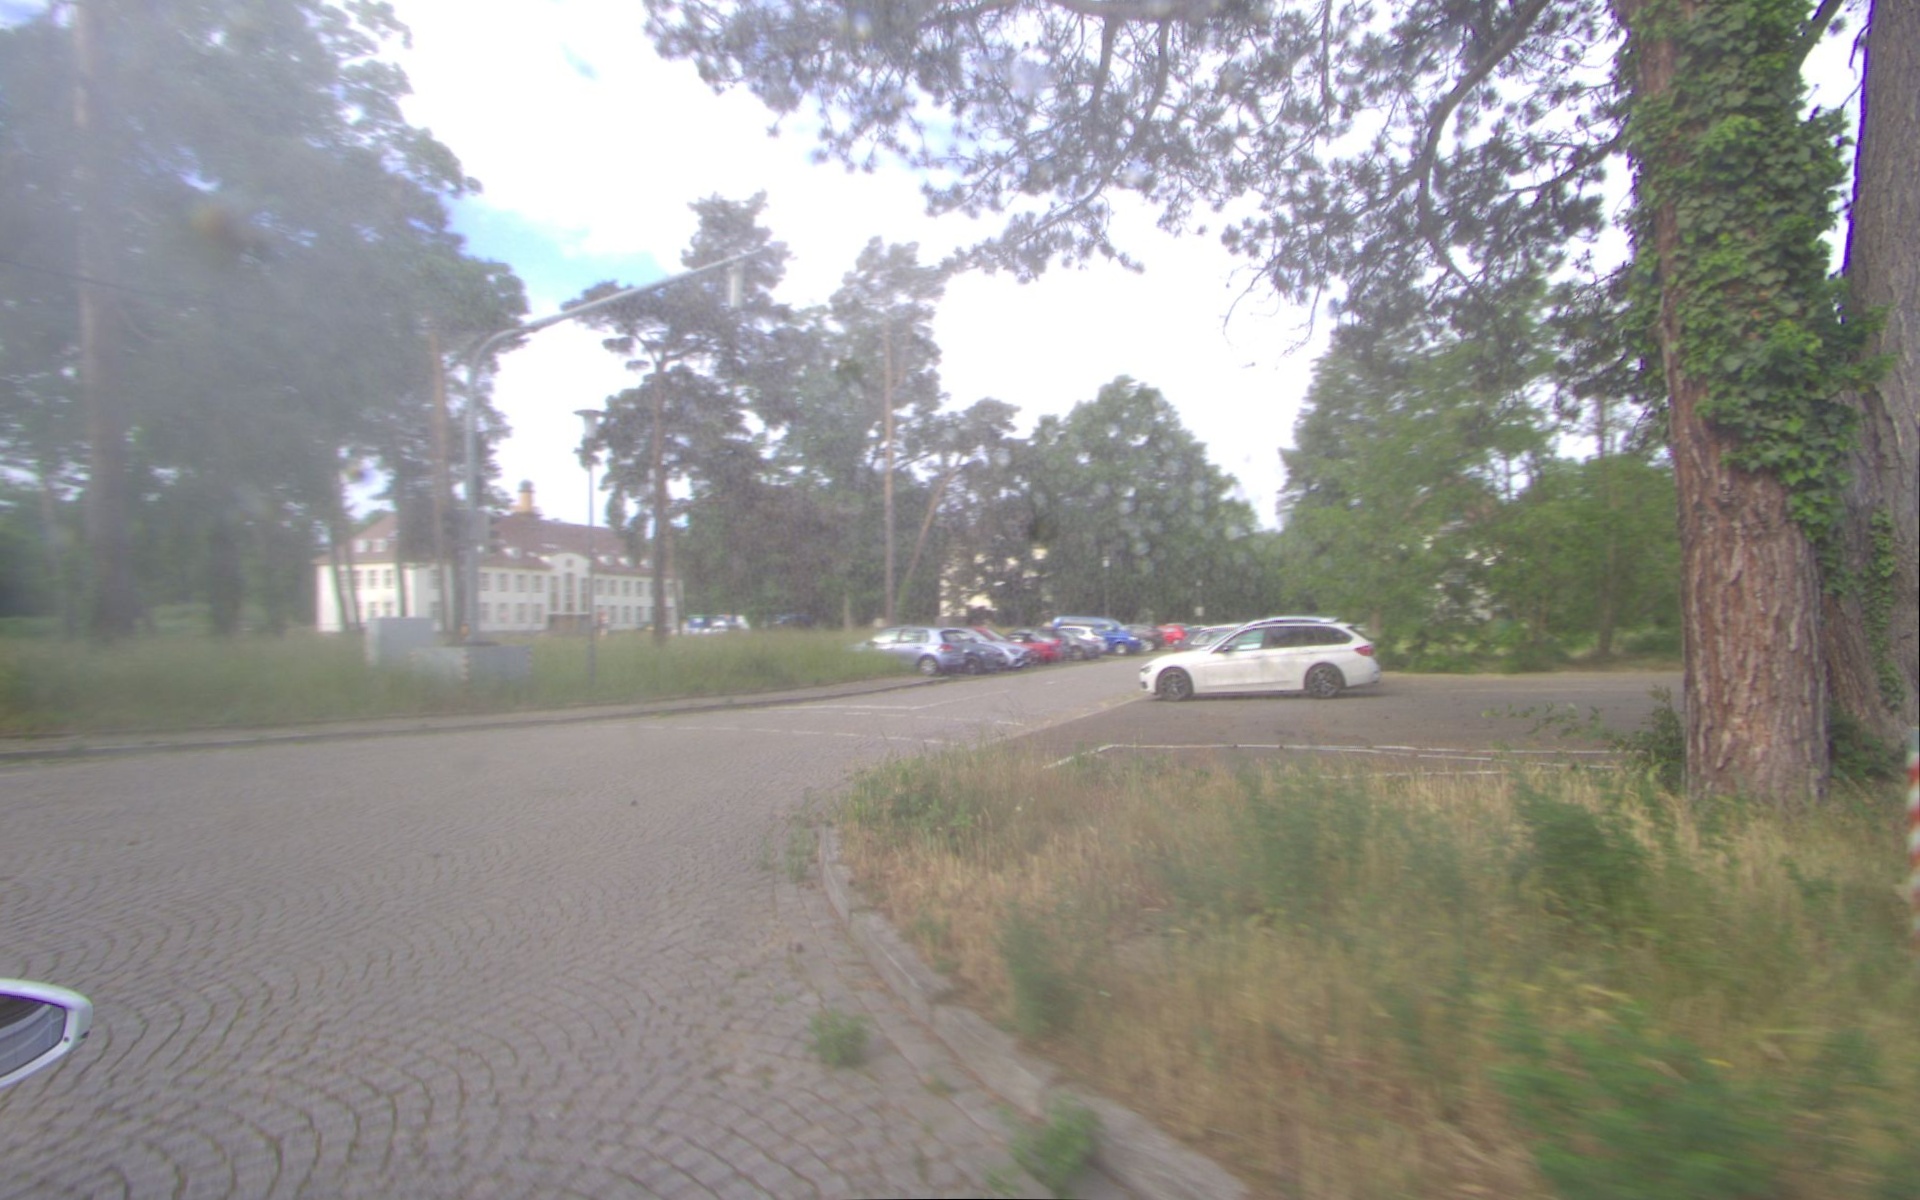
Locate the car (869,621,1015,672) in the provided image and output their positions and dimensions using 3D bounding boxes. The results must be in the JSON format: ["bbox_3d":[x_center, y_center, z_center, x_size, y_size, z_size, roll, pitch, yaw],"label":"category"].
[{"bbox_3d":[-0.569,1.509,32.948,4.436,1.556,1.868,0,-1,19],"label":"car"}]

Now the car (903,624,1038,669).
[{"bbox_3d":[0.384,1.622,35.453,4.376,1.474,1.945,0,-2,23],"label":"car"}]

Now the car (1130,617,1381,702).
[{"bbox_3d":[5.783,1.179,19.786,4.486,1.443,1.824,-3,-2,19],"label":"car"}]

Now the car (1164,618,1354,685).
[{"bbox_3d":[7.390,1.279,24.804,4.306,1.424,1.792,-3,-1,21],"label":"car"}]

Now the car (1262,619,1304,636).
[{"bbox_3d":[41.332,3.546,128.093,4.908,2.098,2.049,1,-2,21],"label":"car"}]

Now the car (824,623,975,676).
[{"bbox_3d":[-1.850,1.491,30.643,4.271,1.489,1.822,0,-2,24],"label":"car"}]

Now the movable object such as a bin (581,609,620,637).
[{"bbox_3d":[-49.193,3.237,136.960,6.063,3.687,2.126,-2,-3,40],"label":"movable object such as a bin"}]

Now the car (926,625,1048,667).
[{"bbox_3d":[1.017,1.697,37.684,4.195,1.474,1.851,0,-1,23],"label":"car"}]

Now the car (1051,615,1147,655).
[{"bbox_3d":[7.302,1.814,52.476,4.644,2.006,2.033,0,-1,22],"label":"car"}]

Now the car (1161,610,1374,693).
[{"bbox_3d":[6.739,1.158,22.173,4.266,1.594,1.825,-3,-2,17],"label":"car"}]

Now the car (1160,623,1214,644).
[{"bbox_3d":[18.074,2.640,79.794,4.014,1.625,1.784,0,-1,21],"label":"car"}]

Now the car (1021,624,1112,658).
[{"bbox_3d":[5.053,1.939,47.686,3.951,1.521,1.837,0,-1,24],"label":"car"}]

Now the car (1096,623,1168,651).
[{"bbox_3d":[10.445,2.210,60.751,4.011,1.596,1.950,0,-1,21],"label":"car"}]

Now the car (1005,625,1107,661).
[{"bbox_3d":[4.314,1.887,44.897,4.247,1.500,1.726,0,-1,24],"label":"car"}]

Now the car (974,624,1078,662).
[{"bbox_3d":[2.790,1.786,42.417,4.033,1.500,1.750,0,-1,24],"label":"car"}]

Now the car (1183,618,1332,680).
[{"bbox_3d":[8.136,1.333,27.413,3.719,1.499,1.739,-3,-1,20],"label":"car"}]

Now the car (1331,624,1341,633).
[{"bbox_3d":[70.502,5.335,187.638,1.765,1.741,4.055,0,-3,20],"label":"car"}]

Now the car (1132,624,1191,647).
[{"bbox_3d":[14.160,2.475,70.349,3.762,1.509,1.783,0,-1,22],"label":"car"}]

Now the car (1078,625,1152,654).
[{"bbox_3d":[8.488,2.134,54.795,3.739,1.513,1.723,0,-1,20],"label":"car"}]

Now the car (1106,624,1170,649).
[{"bbox_3d":[11.279,2.262,63.416,3.763,1.505,1.757,0,-1,22],"label":"car"}]

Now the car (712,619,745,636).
[{"bbox_3d":[-29.747,3.564,128.951,2.033,2.121,4.338,-1,-3,21],"label":"car"}]

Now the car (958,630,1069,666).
[{"bbox_3d":[2.123,1.869,39.797,4.074,1.300,1.759,0,-1,23],"label":"car"}]
